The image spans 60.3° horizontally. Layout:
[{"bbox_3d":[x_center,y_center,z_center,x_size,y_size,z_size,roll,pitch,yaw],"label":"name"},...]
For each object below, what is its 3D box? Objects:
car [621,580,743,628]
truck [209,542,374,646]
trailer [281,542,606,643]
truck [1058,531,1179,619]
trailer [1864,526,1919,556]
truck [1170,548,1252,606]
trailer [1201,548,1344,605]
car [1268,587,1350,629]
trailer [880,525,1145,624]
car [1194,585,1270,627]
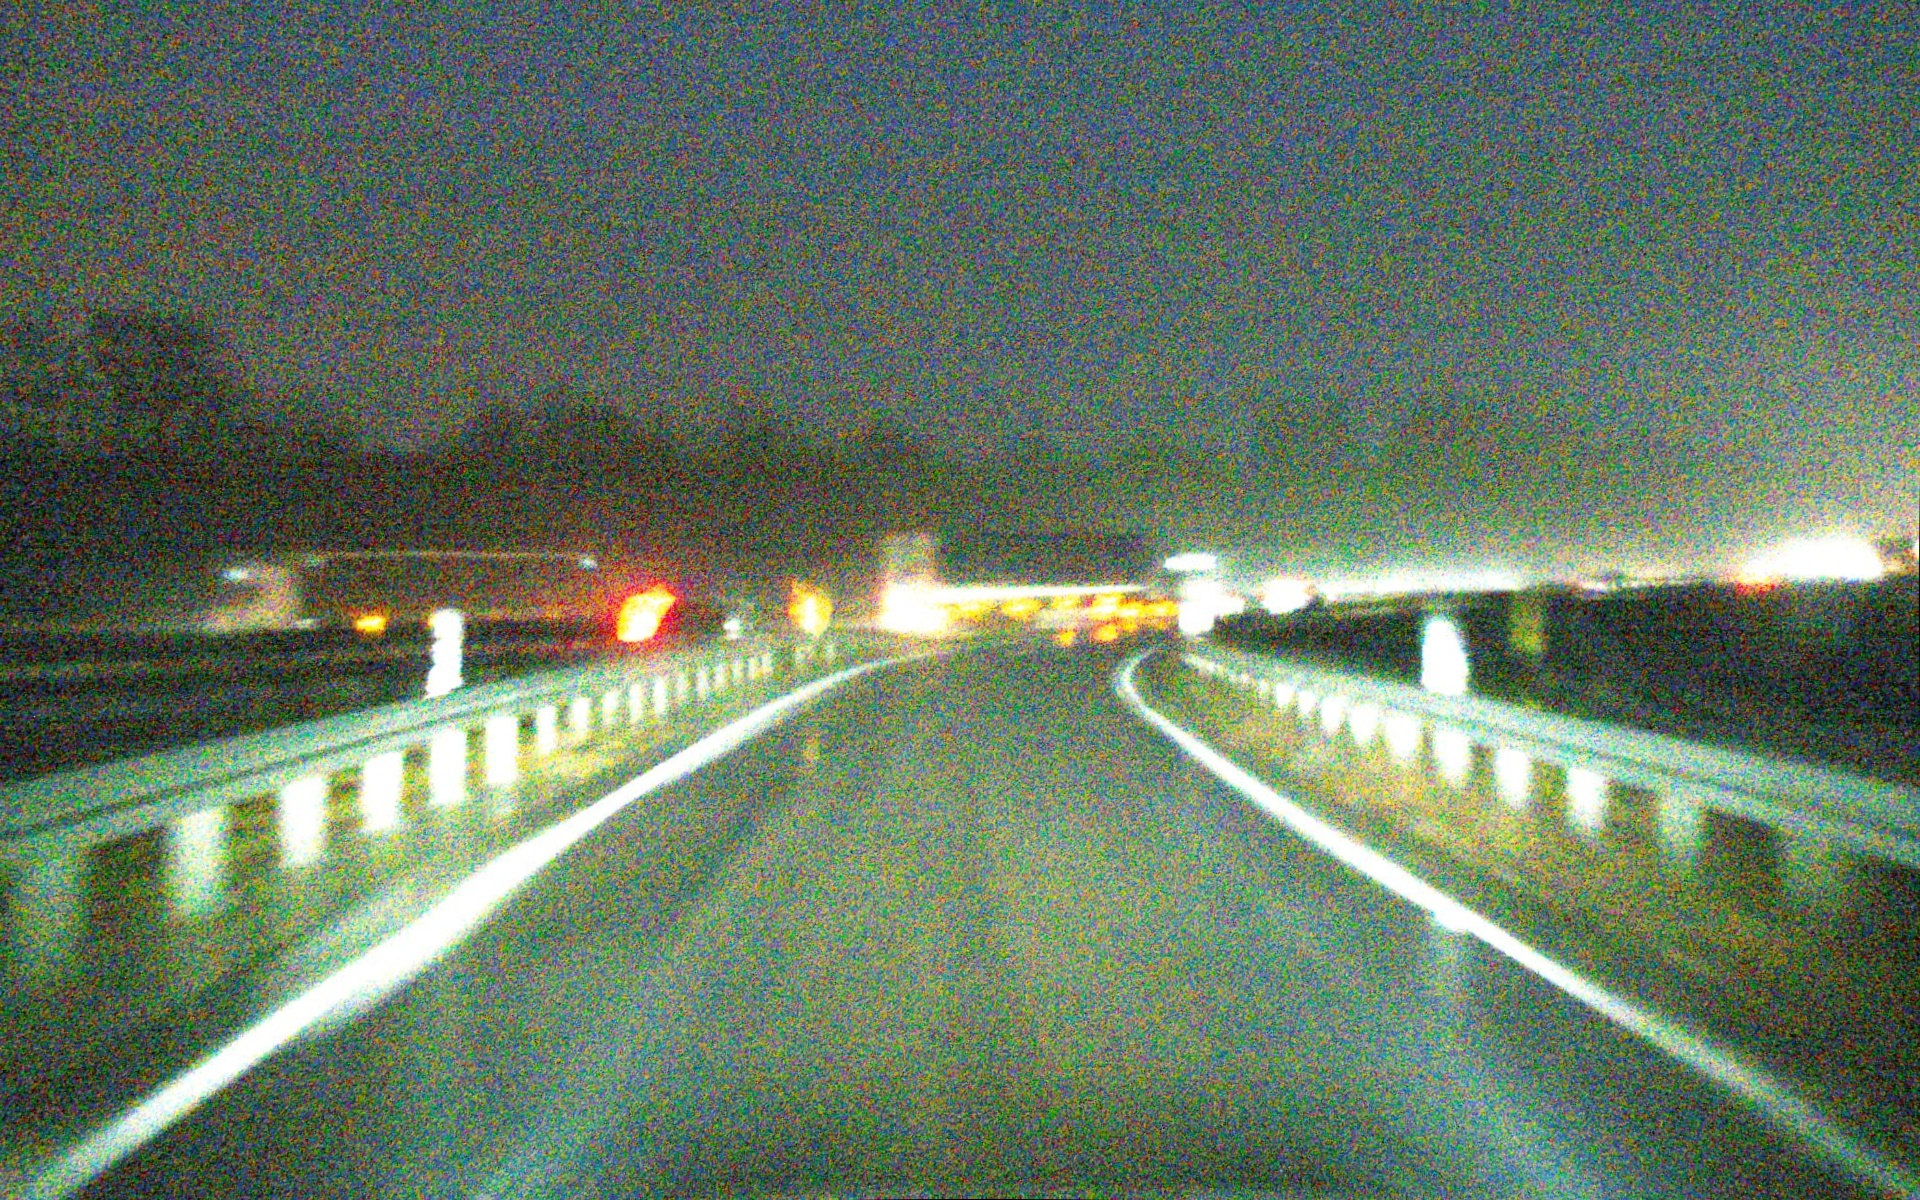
[{"bbox_3d":[-10.074,0.121,60.113,3.966,1.646,1.970,-1,2,-42],"label":"car"},{"bbox_3d":[-27.463,-0.319,68.022,5.703,4.099,2.735,-1,2,-43],"label":"truck"},{"bbox_3d":[-22.381,-0.463,72.863,13.903,4.099,2.735,-2,2,-44],"label":"trailer"},{"bbox_3d":[7.123,-1.128,73.905,2.553,3.776,5.419,2,2,45],"label":"truck"},{"bbox_3d":[88.746,-5.515,156.055,2.651,2.746,12.765,1,2,45],"label":"trailer"},{"bbox_3d":[16.892,-1.596,111.221,5.662,3.795,2.618,-2,2,-45],"label":"truck"},{"bbox_3d":[22.173,-1.754,116.491,13.841,3.795,2.617,-2,2,-45],"label":"trailer"},{"bbox_3d":[16.431,0.360,77.819,1.967,1.850,3.972,1,2,45],"label":"car"},{"bbox_3d":[2.494,-1.076,69.189,2.557,3.790,13.554,2,2,45],"label":"trailer"},{"bbox_3d":[14.145,0.303,85.967,3.970,2.048,1.968,-2,2,-44],"label":"car"}]
